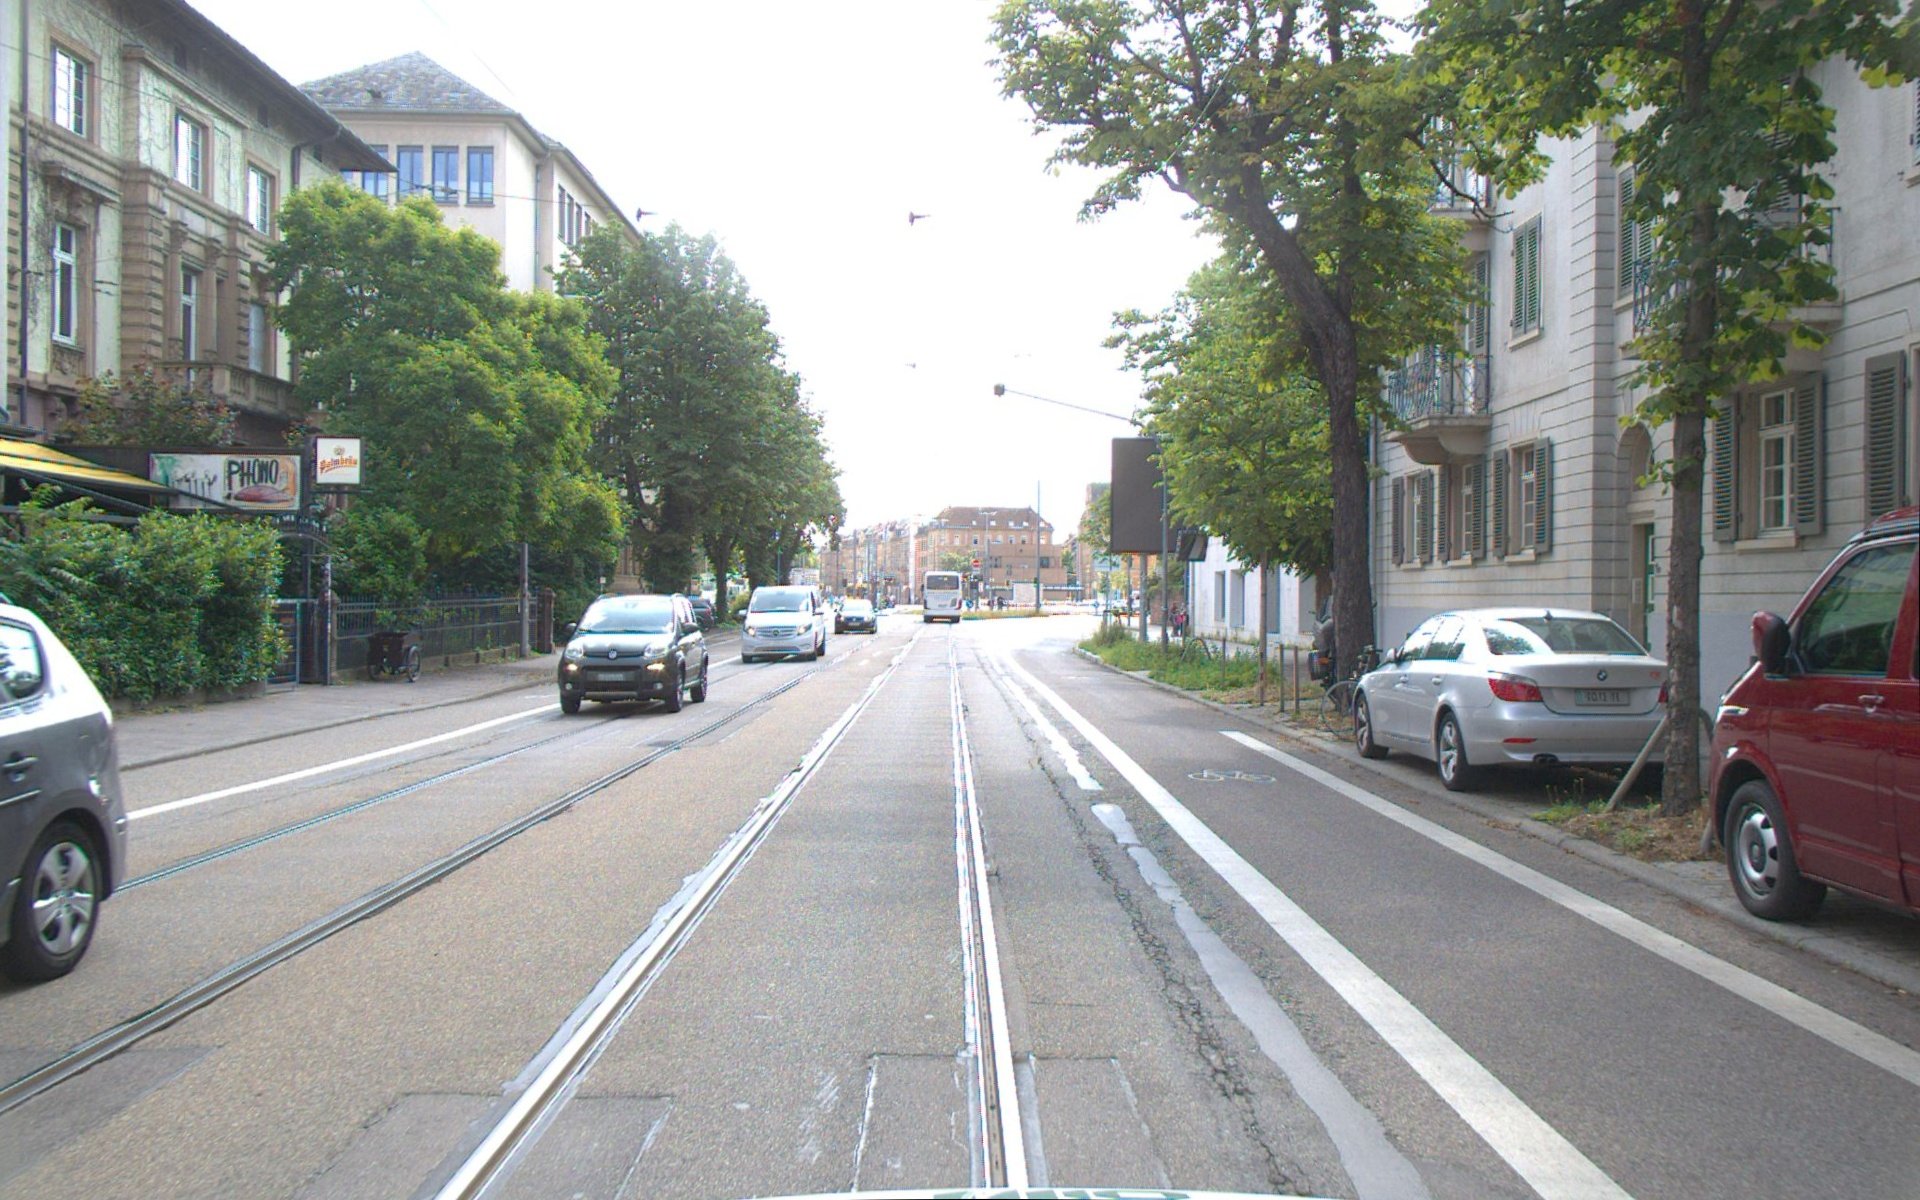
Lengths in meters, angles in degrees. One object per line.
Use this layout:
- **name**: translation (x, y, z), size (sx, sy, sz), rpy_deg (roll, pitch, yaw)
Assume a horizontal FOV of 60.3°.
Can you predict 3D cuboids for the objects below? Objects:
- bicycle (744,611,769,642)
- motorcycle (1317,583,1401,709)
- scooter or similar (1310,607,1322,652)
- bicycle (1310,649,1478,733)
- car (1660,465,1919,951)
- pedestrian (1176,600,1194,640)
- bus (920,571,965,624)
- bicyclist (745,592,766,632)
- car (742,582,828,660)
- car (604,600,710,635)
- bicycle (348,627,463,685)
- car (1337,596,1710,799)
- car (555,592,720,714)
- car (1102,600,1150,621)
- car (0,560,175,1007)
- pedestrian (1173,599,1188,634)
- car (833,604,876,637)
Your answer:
- **bicycle**: translation (-8.056, 1.042, 65.550), size (0.590, 1.116, 2.023), rpy_deg (-5, 0, 2)
- **motorcycle**: translation (5.233, 0.574, 21.833), size (0.959, 1.569, 2.442), rpy_deg (0, 0, 11)
- **scooter or similar**: translation (9.768, 0.796, 45.338), size (0.315, 1.202, 1.149), rpy_deg (0, 0, 12)
- **bicycle**: translation (4.912, 1.028, 18.799), size (1.739, 0.918, 0.692), rpy_deg (0, 0, 2)
- **car**: translation (4.827, 0.437, 6.680), size (1.857, 1.975, 4.949), rpy_deg (0, 0, -1)
- **pedestrian**: translation (10.215, 0.908, 74.998), size (0.670, 1.754, 0.747), rpy_deg (-1, 1, 0)
- **bus**: translation (-1.280, -0.126, 113.768), size (2.858, 3.386, 12.202), rpy_deg (1, -1, -1)
- **bicyclist**: translation (-8.105, 0.457, 65.575), size (0.587, 1.518, 0.882), rpy_deg (-5, 0, 2)
- **car**: translation (-4.568, 0.529, 43.755), size (1.859, 1.941, 5.382), rpy_deg (0, 0, -2)
- **car**: translation (-12.989, 0.734, 70.937), size (4.179, 1.472, 1.777), rpy_deg (0, 0, -28)
- **bicycle**: translation (-10.306, 1.020, 30.912), size (1.119, 0.924, 2.988), rpy_deg (3, 0, -1)
- **car**: translation (4.798, 0.742, 14.871), size (1.672, 1.524, 4.788), rpy_deg (0, 0, -1)
- **car**: translation (-4.464, 0.695, 23.387), size (1.598, 1.584, 3.821), rpy_deg (0, 0, 0)
- **car**: translation (14.838, 0.931, 147.700), size (4.067, 1.713, 2.104), rpy_deg (1, 1, -42)
- **car**: translation (-4.214, 0.651, 4.966), size (1.692, 1.567, 4.276), rpy_deg (-1, 0, -1)
- **pedestrian**: translation (10.210, 0.755, 76.435), size (0.510, 1.608, 0.547), rpy_deg (-2, 1, -10)
- **car**: translation (-4.610, 0.886, 72.684), size (1.654, 1.426, 3.930), rpy_deg (-1, 0, -1)
